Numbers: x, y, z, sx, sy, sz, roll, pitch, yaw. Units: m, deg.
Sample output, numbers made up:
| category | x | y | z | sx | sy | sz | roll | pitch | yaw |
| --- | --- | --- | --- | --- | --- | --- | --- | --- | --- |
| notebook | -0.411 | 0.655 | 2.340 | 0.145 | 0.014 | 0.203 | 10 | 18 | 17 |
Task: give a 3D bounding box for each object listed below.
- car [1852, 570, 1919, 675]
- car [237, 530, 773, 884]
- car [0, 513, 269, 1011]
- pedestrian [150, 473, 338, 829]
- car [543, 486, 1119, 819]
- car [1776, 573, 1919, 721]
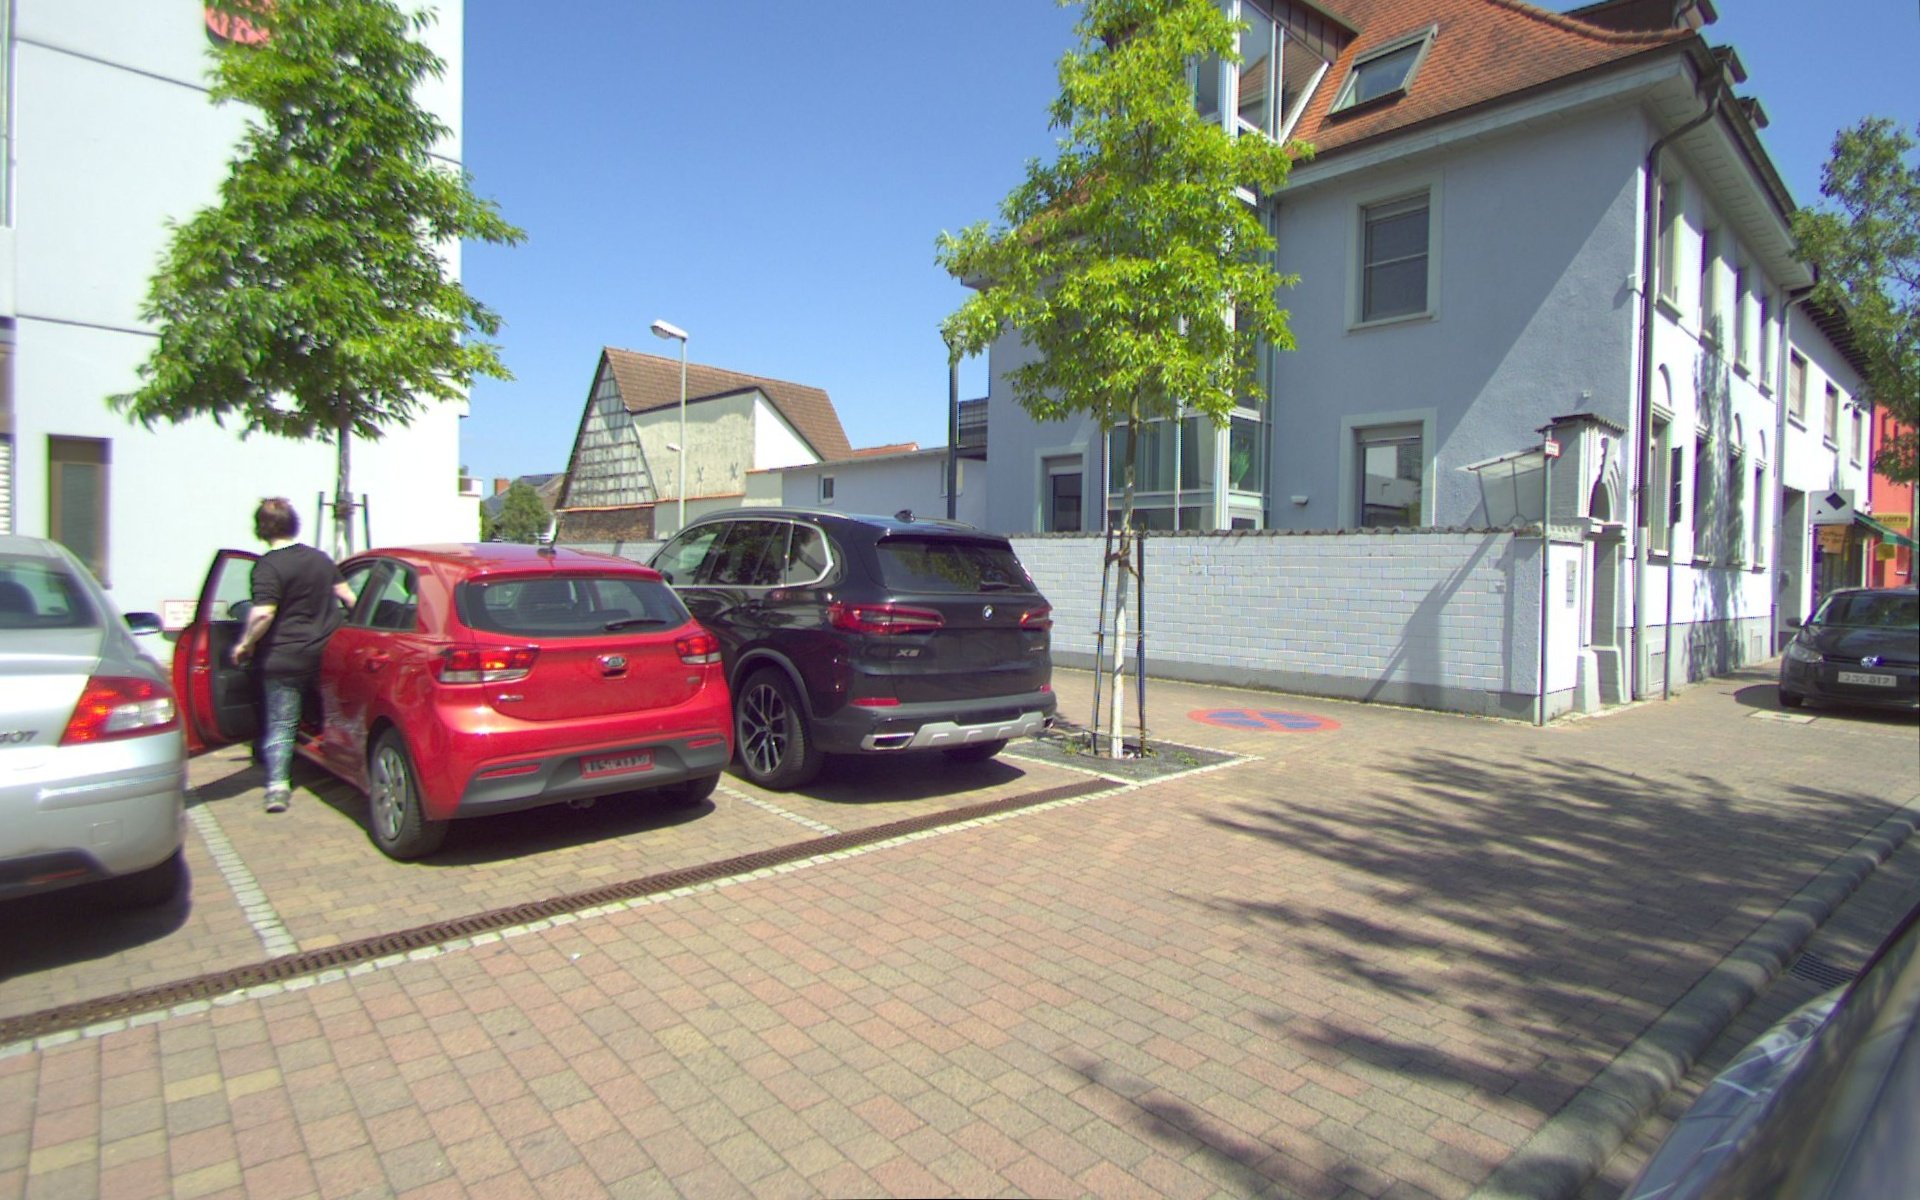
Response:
| category | x | y | z | sx | sy | sz | roll | pitch | yaw |
| --- | --- | --- | --- | --- | --- | --- | --- | --- | --- |
| car | 15.509 | 0.314 | 15.813 | 4.023 | 1.499 | 1.721 | -1 | 3 | -40 |
| car | -2.959 | 0.351 | 6.173 | 3.731 | 1.470 | 1.717 | 4 | 4 | 44 |
| car | -4.604 | 0.344 | 4.364 | 4.538 | 1.458 | 1.811 | 5 | 4 | 44 |
| pedestrian | -3.852 | 0.226 | 5.439 | 0.748 | 1.738 | 0.688 | 4 | 3 | 43 |
| car | -1.288 | 0.130 | 7.858 | 2.111 | 1.792 | 4.638 | 0 | 4 | -43 |
| car | 11.332 | 0.472 | 12.177 | 3.855 | 1.499 | 1.707 | -1 | 4 | -42 |
